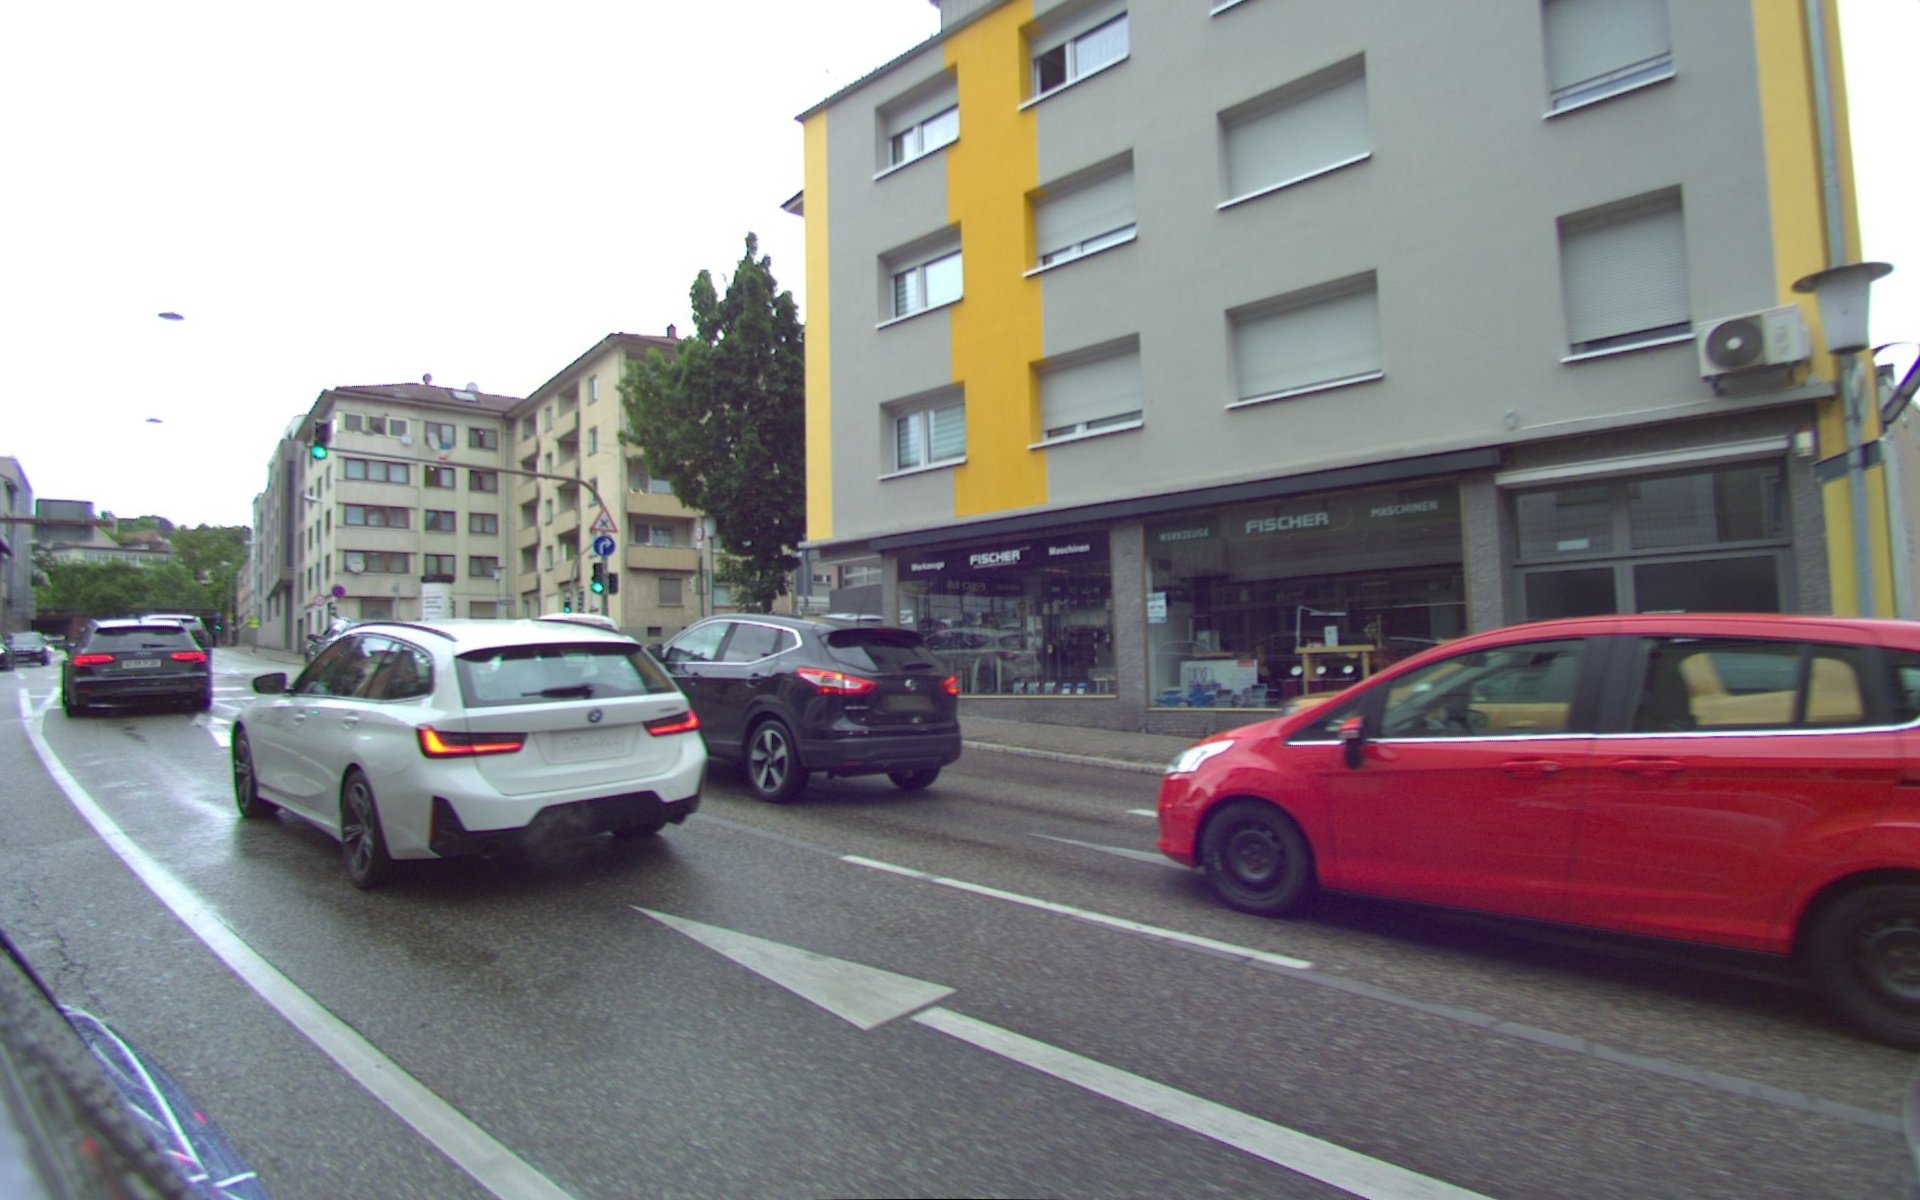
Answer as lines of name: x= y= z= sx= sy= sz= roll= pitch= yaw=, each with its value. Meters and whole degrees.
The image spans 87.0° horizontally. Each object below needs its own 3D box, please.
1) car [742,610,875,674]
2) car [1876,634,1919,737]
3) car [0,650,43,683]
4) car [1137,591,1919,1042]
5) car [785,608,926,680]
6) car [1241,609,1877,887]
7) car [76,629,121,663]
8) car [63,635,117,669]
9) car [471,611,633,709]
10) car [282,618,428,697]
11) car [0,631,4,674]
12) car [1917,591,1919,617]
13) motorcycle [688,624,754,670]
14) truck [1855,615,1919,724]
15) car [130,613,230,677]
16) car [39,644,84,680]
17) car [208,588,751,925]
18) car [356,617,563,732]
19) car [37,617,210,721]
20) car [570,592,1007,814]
car: x=-4.434 y=1.205 z=30.314 sx=1.765 sy=1.741 sz=4.306 roll=1 pitch=-1 yaw=27
car: x=17.430 y=1.321 z=16.445 sx=1.654 sy=1.684 sz=3.549 roll=1 pitch=-6 yaw=-44
car: x=-47.489 y=3.349 z=50.860 sx=1.811 sy=1.566 sz=4.007 roll=1 pitch=-3 yaw=-38
car: x=3.084 y=0.796 z=4.785 sx=4.129 sy=1.527 sz=1.721 roll=-1 pitch=-4 yaw=42
car: x=-2.879 y=1.188 z=28.662 sx=1.856 sy=1.807 sz=3.954 roll=-2 pitch=0 yaw=34
car: x=4.384 y=0.929 z=7.832 sx=3.926 sy=1.622 sz=1.639 roll=-1 pitch=-4 yaw=40
car: x=-54.478 y=2.922 z=64.051 sx=1.912 sy=1.930 sz=4.865 roll=0 pitch=-4 yaw=-37
car: x=-42.196 y=2.517 z=49.166 sx=1.811 sy=1.566 sz=4.007 roll=1 pitch=-3 yaw=-38
car: x=-8.848 y=1.247 z=21.790 sx=1.707 sy=1.843 sz=4.064 roll=9 pitch=-7 yaw=-43
car: x=-12.783 y=1.198 z=21.268 sx=1.797 sy=1.489 sz=4.384 roll=2 pitch=-4 yaw=-42
car: x=-34.325 y=1.840 z=34.952 sx=1.847 sy=1.453 sz=4.004 roll=1 pitch=-3 yaw=-43
car: x=25.427 y=0.823 z=22.492 sx=2.100 sy=2.578 sz=5.639 roll=0 pitch=-5 yaw=-39
motorcycle: x=-7.136 y=1.387 z=30.277 sx=0.539 sy=1.339 sz=1.965 roll=-3 pitch=-3 yaw=41
truck: x=19.096 y=1.162 z=18.260 sx=4.225 sy=1.987 sz=1.697 roll=-7 pitch=-6 yaw=43
car: x=-21.406 y=1.180 z=27.718 sx=1.797 sy=1.548 sz=4.384 roll=2 pitch=-2 yaw=-42
car: x=-49.868 y=3.445 z=56.212 sx=1.767 sy=1.741 sz=4.006 roll=0 pitch=-5 yaw=-40
car: x=-3.499 y=0.760 z=6.858 sx=4.562 sy=1.533 sz=1.786 roll=-1 pitch=-2 yaw=44
car: x=-7.975 y=1.131 z=15.933 sx=1.785 sy=1.554 sz=4.384 roll=2 pitch=-4 yaw=-42
car: x=-13.443 y=0.999 z=16.167 sx=1.785 sy=1.425 sz=4.382 roll=3 pitch=-2 yaw=-44
car: x=-1.803 y=0.843 z=9.646 sx=4.342 sy=1.644 sz=1.787 roll=-1 pitch=-5 yaw=43
